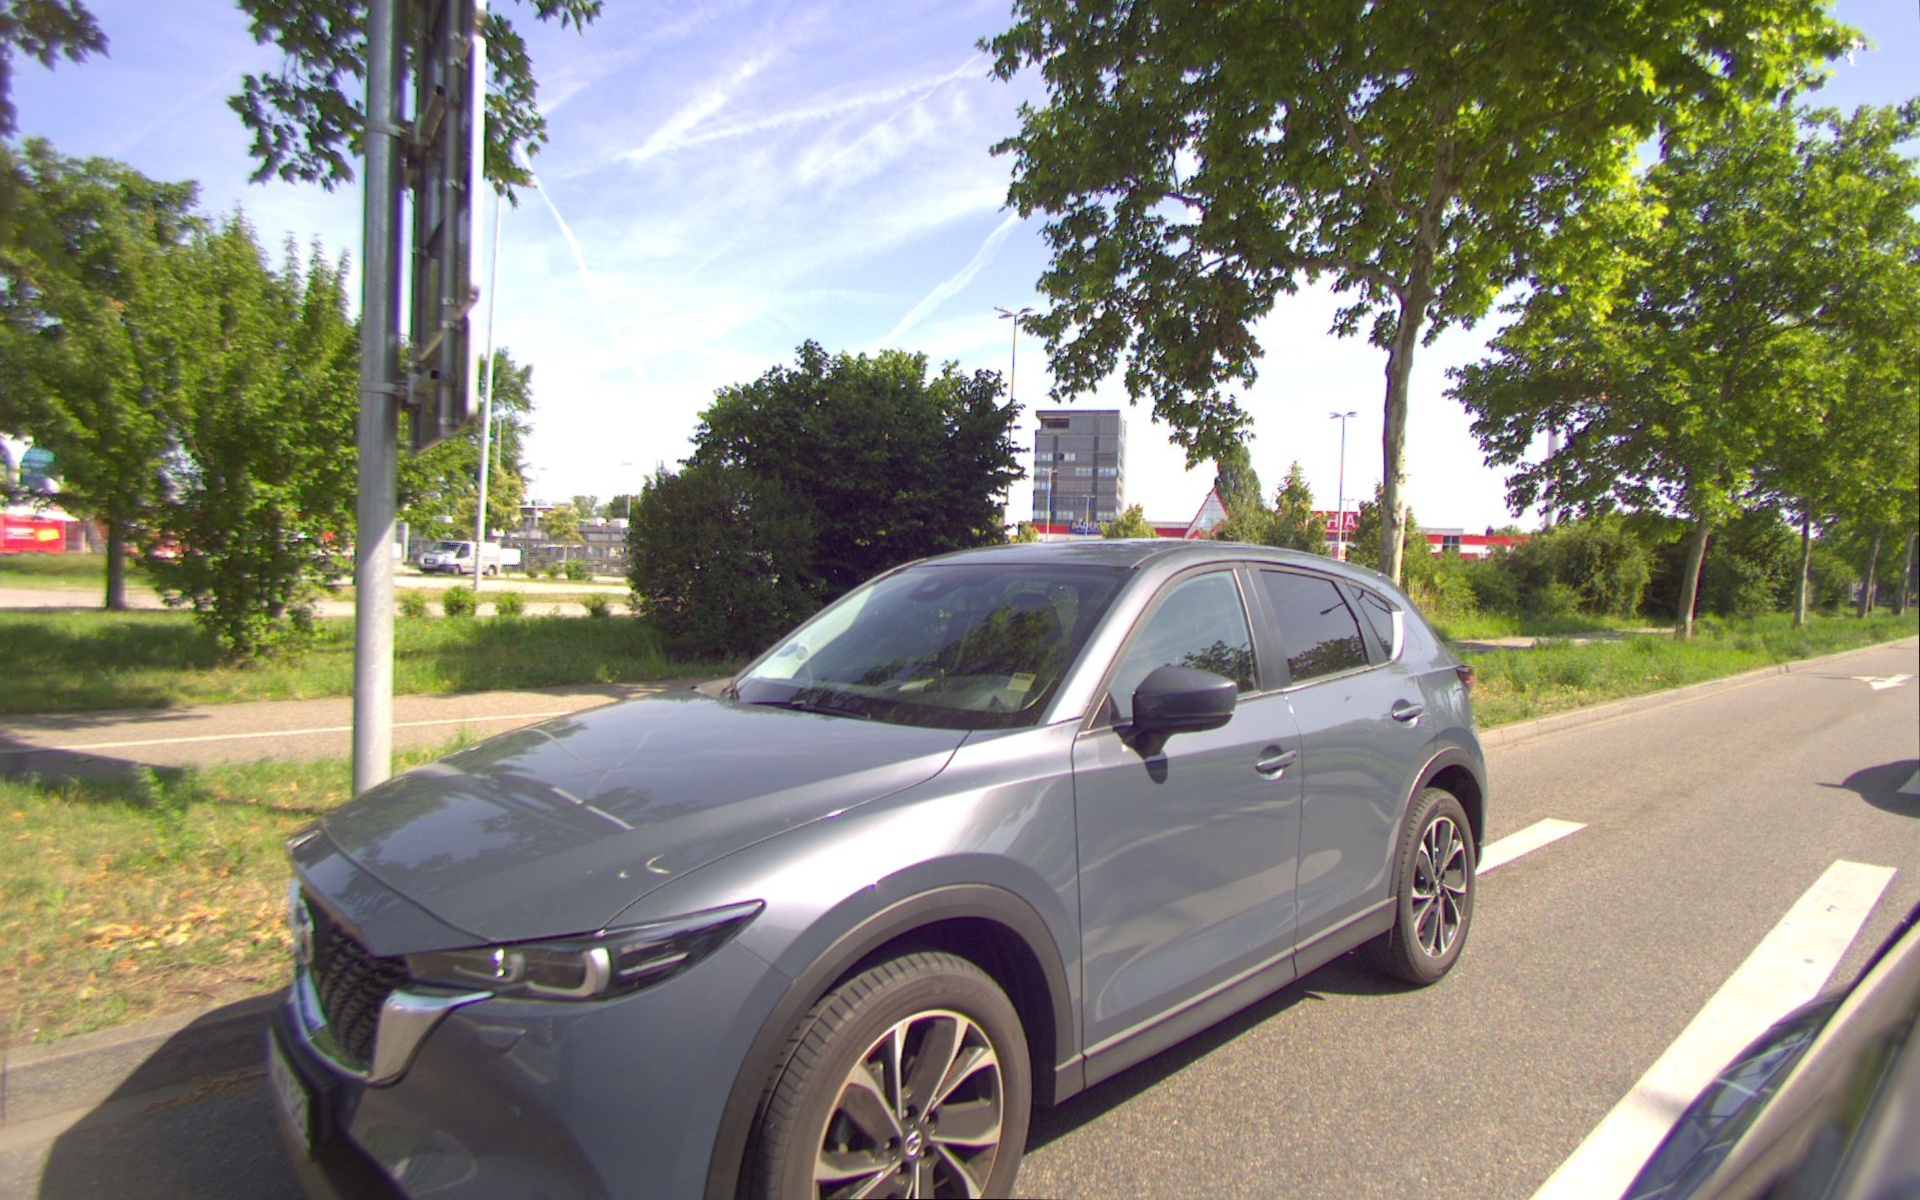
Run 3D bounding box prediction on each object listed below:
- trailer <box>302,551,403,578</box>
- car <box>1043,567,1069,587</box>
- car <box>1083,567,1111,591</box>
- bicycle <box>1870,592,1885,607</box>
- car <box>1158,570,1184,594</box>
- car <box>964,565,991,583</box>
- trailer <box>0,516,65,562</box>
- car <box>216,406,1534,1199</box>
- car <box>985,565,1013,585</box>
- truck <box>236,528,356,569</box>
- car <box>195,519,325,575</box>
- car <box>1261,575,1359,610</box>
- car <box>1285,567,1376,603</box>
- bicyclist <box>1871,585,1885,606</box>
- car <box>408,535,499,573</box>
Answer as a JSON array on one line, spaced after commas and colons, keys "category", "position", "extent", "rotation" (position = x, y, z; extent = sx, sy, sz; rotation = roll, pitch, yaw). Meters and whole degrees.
[{"category": "trailer", "position": [-29.567, -1.762, 49.279], "extent": [3.973, 1.135, 2.061], "rotation": [2, 4, 15]}, {"category": "car", "position": [8.013, -1.927, 84.354], "extent": [1.664, 1.593, 3.986], "rotation": [2, 2, 13]}, {"category": "car", "position": [9.802, -1.529, 72.153], "extent": [1.664, 1.593, 3.986], "rotation": [2, 2, 13]}, {"category": "bicycle", "position": [75.741, -0.052, 83.511], "extent": [1.901, 1.252, 0.686], "rotation": [0, 2, -42]}, {"category": "car", "position": [14.754, -1.295, 70.552], "extent": [1.664, 1.593, 3.986], "rotation": [2, 2, 13]}, {"category": "car", "position": [1.597, -2.350, 91.777], "extent": [1.664, 1.593, 3.986], "rotation": [2, 2, 13]}, {"category": "trailer", "position": [-51.426, -3.313, 54.624], "extent": [1.728, 2.406, 4.389], "rotation": [3, 1, 16]}, {"category": "car", "position": [0.244, 0.556, 3.514], "extent": [4.419, 1.680, 1.768], "rotation": [0, 1, -42]}, {"category": "car", "position": [3.310, -2.142, 85.380], "extent": [1.664, 1.593, 3.986], "rotation": [2, 2, 13]}, {"category": "truck", "position": [-37.871, -2.890, 57.934], "extent": [2.037, 2.166, 5.838], "rotation": [2, 2, 15]}, {"category": "car", "position": [-34.934, -2.675, 50.519], "extent": [5.600, 2.572, 2.014], "rotation": [2, 4, 12]}, {"category": "car", "position": [14.858, -0.333, 43.070], "extent": [3.552, 1.315, 1.741], "rotation": [3, 3, 43]}, {"category": "car", "position": [17.840, -0.730, 48.872], "extent": [3.801, 1.604, 1.844], "rotation": [2, 2, 11]}, {"category": "bicyclist", "position": [75.767, -0.378, 83.520], "extent": [0.985, 1.651, 0.686], "rotation": [0, 2, -41]}, {"category": "car", "position": [-27.538, -2.447, 55.232], "extent": [1.845, 1.838, 4.816], "rotation": [3, 1, 10]}]
